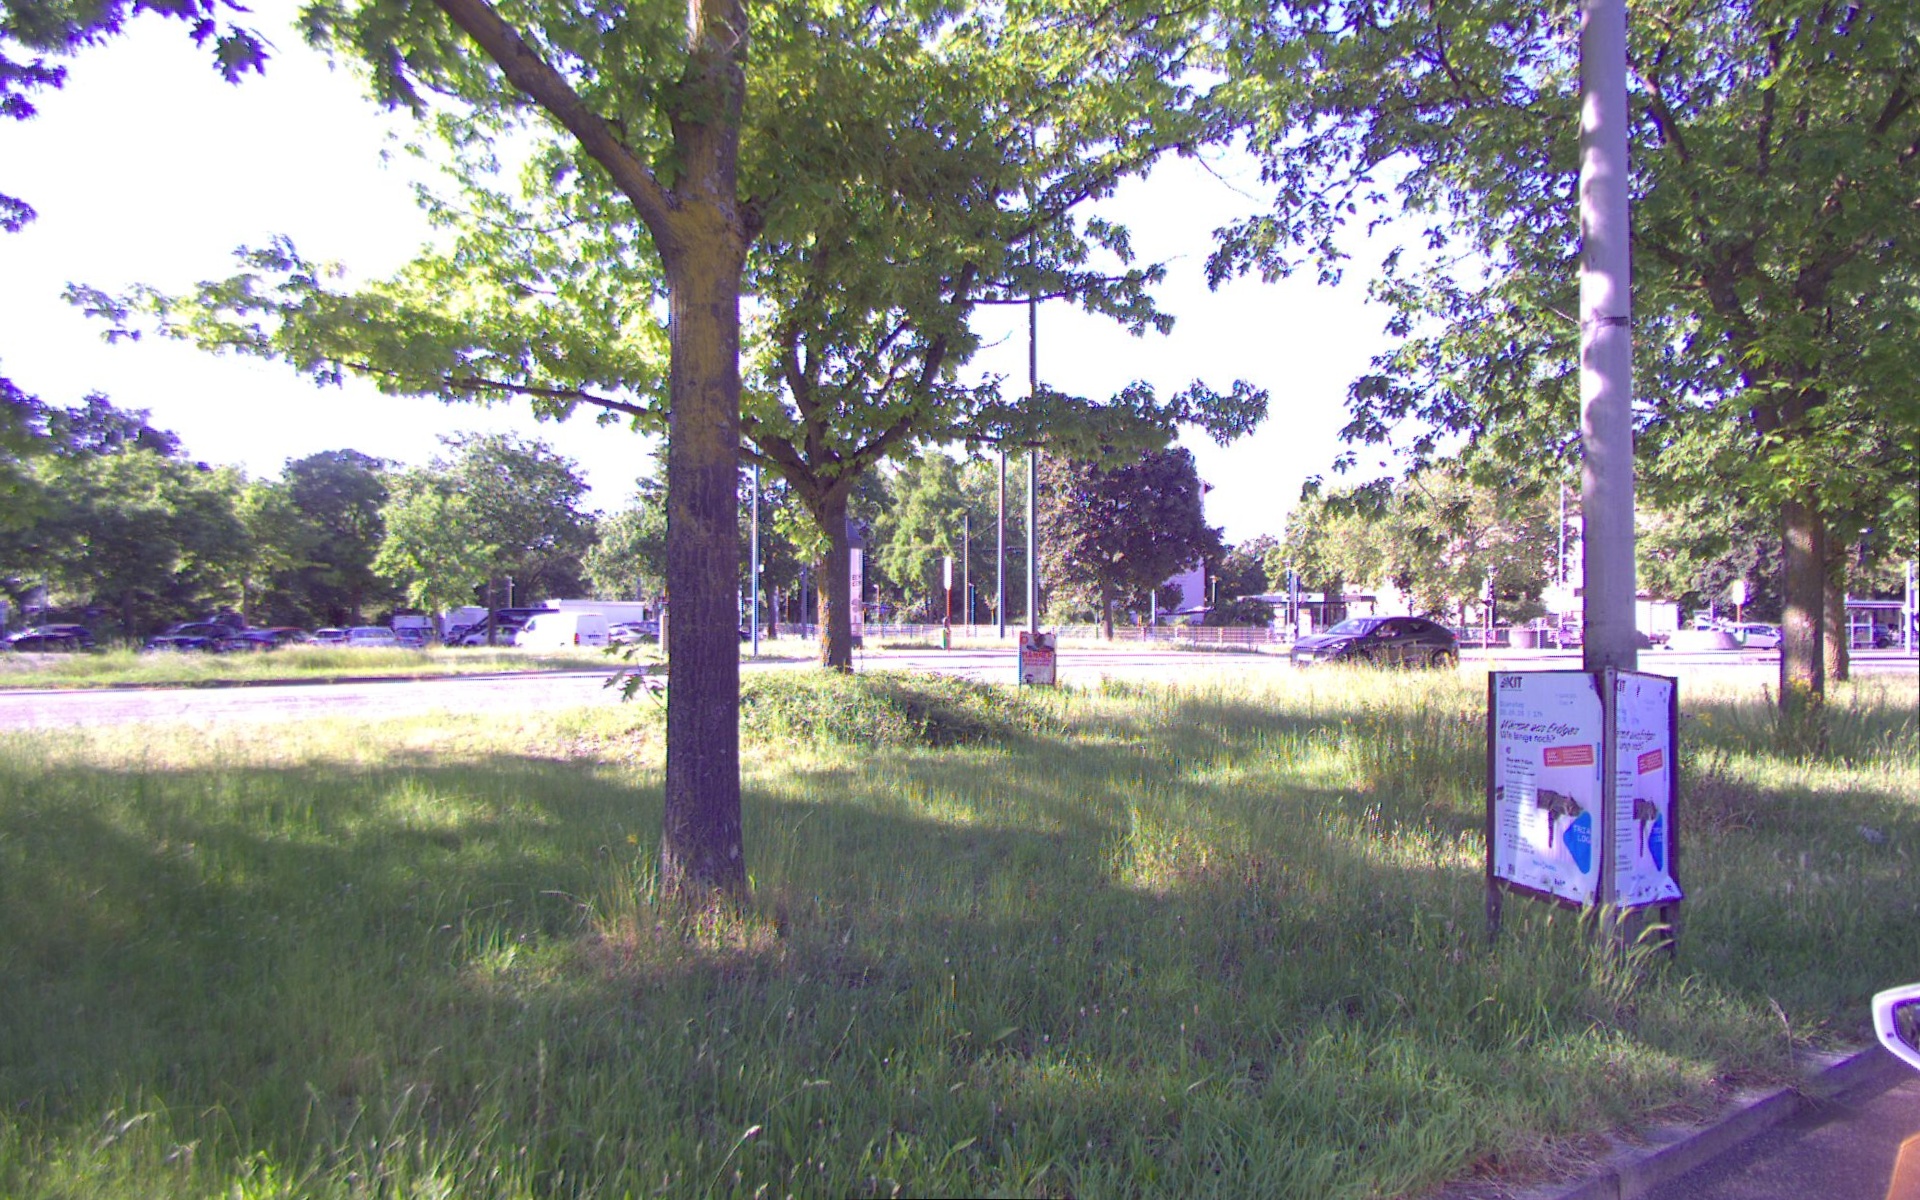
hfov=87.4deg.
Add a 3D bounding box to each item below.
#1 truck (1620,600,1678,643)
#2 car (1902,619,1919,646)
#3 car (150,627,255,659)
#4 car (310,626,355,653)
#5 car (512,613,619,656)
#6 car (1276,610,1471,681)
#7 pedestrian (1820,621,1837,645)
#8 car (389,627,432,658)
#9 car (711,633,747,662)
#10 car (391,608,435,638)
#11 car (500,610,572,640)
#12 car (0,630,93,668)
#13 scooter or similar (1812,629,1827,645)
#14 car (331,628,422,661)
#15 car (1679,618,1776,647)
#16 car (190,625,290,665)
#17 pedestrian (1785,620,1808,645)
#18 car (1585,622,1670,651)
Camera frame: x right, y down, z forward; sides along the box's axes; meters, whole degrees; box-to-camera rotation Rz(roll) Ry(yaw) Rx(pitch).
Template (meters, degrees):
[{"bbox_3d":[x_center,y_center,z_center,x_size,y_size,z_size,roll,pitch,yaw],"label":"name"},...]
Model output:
[{"bbox_3d":[46.633,1.469,68.091,1.960,2.842,4.002,0,-1,15],"label":"truck"},{"bbox_3d":[71.854,2.385,73.358,1.910,2.040,4.155,1,-1,-31],"label":"car"},{"bbox_3d":[-26.848,1.503,35.624,1.315,1.078,2.777,-1,-1,42],"label":"car"},{"bbox_3d":[-29.301,1.823,46.860,1.603,1.194,3.047,1,-1,-35],"label":"car"},{"bbox_3d":[-17.224,1.473,43.796,4.670,1.762,2.024,0,-1,34],"label":"car"},{"bbox_3d":[10.322,1.111,25.127,4.389,1.669,1.825,1,-1,-18],"label":"car"},{"bbox_3d":[51.182,1.957,59.200,0.614,1.409,0.416,0,-1,-3],"label":"pedestrian"},{"bbox_3d":[-26.708,2.027,48.774,1.602,1.438,3.050,1,-1,-33],"label":"car"},{"bbox_3d":[-12.037,2.451,52.483,1.589,1.438,3.073,0,-1,-8],"label":"car"},{"bbox_3d":[-32.496,1.363,59.780,1.865,1.691,3.733,1,-1,-22],"label":"car"},{"bbox_3d":[-24.137,1.411,57.284,3.698,1.691,1.883,1,-1,-23],"label":"car"},{"bbox_3d":[-47.666,2.496,51.897,1.966,1.817,3.990,0,-1,32],"label":"car"},{"bbox_3d":[50.611,2.174,59.167,0.524,0.939,0.421,0,-1,-4],"label":"scooter or similar"},{"bbox_3d":[-21.832,1.633,37.629,2.769,1.171,1.326,1,-1,-40],"label":"car"},{"bbox_3d":[46.900,1.956,61.466,4.233,1.706,2.001,0,-1,9],"label":"car"},{"bbox_3d":[-25.238,1.562,35.239,2.769,1.323,1.326,1,-1,-40],"label":"car"},{"bbox_3d":[53.748,2.085,64.554,0.781,1.629,0.923,0,-1,9],"label":"pedestrian"},{"bbox_3d":[41.383,2.239,62.393,3.919,1.706,2.001,0,-1,9],"label":"car"}]
